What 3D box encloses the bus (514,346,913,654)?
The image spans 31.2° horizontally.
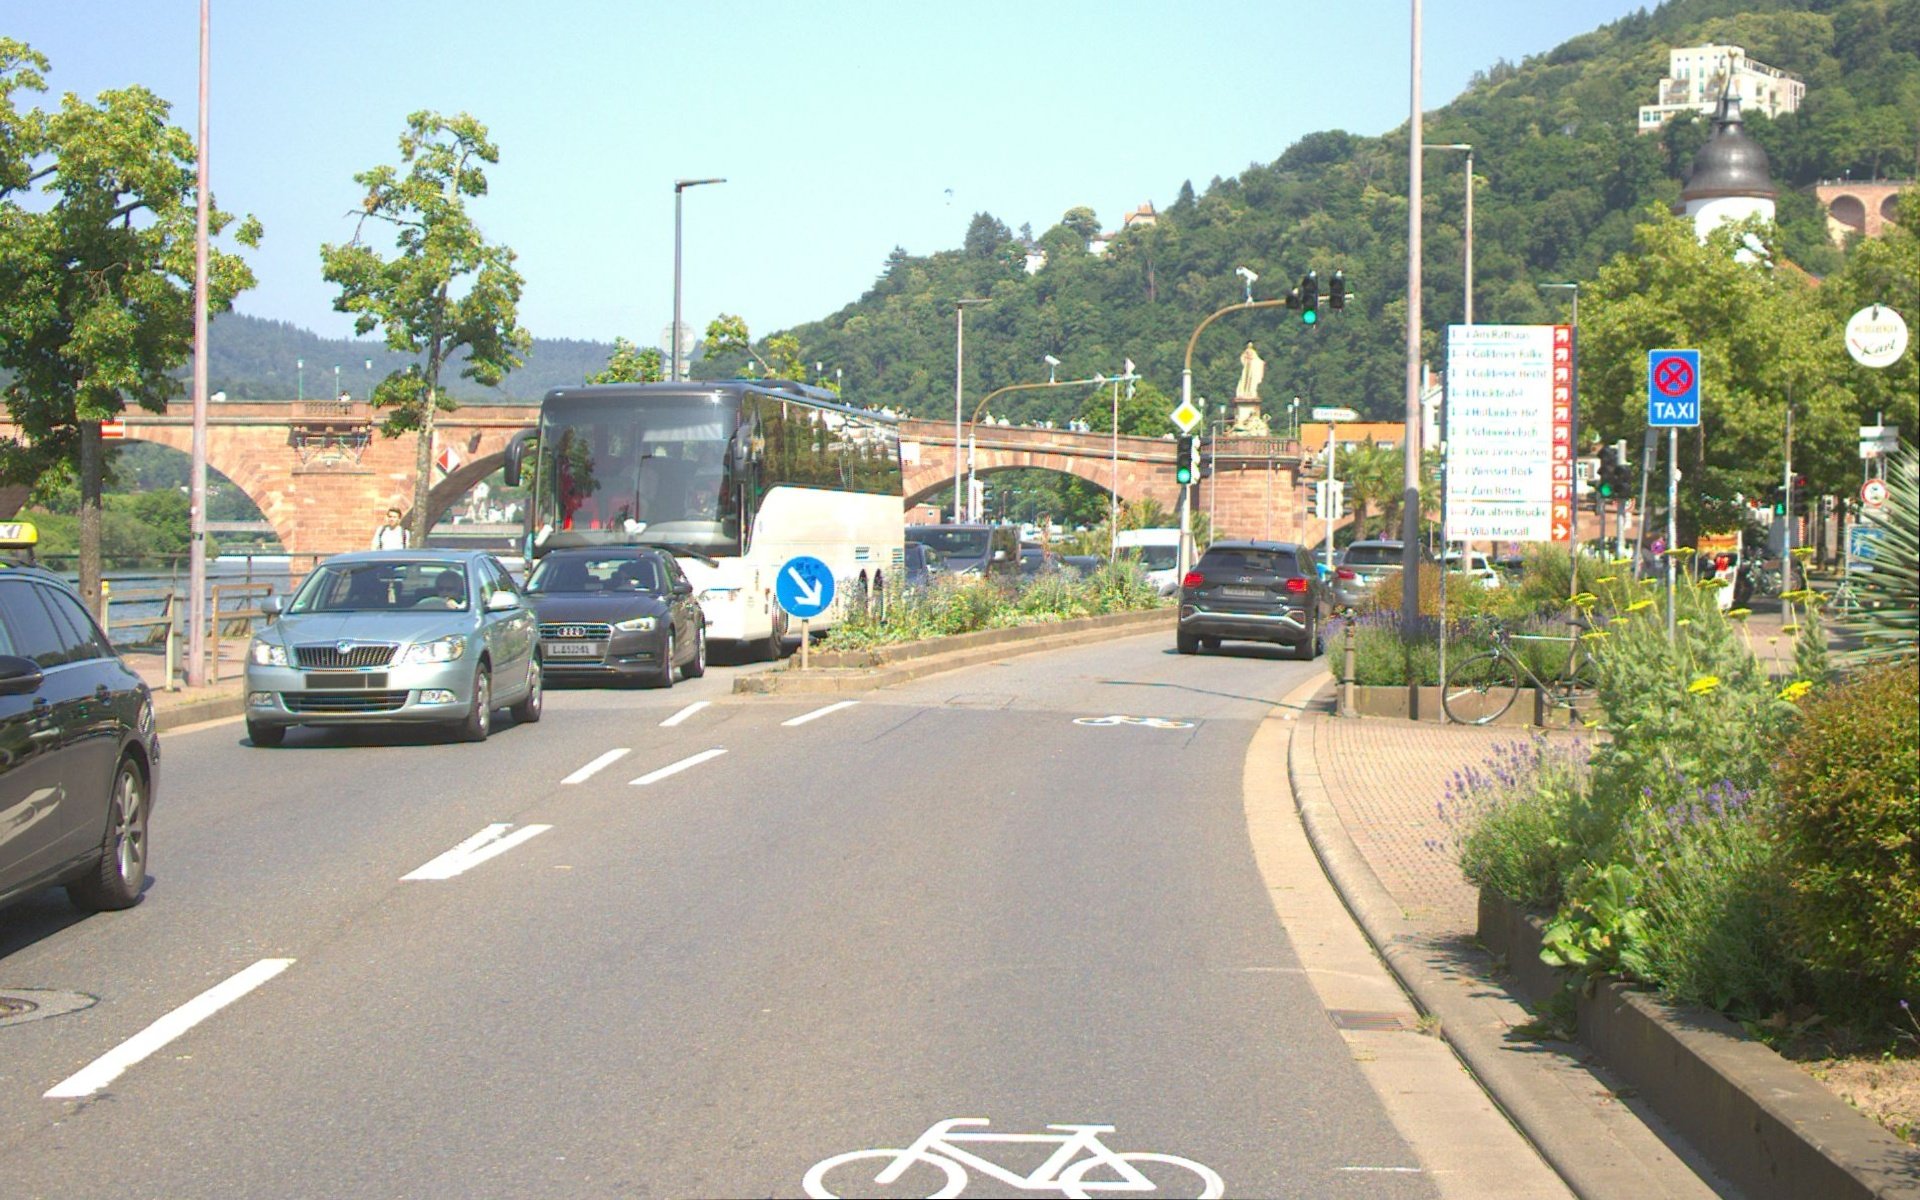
[{"bbox_3d":[-2.956,-1.182,46.226,2.632,3.552,12.978,1,0,8],"label":"bus"}]

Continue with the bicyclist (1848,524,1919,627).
[{"bbox_3d":[14.388,-0.386,53.561,0.766,1.578,1.089,1,1,-2],"label":"bicyclist"}]

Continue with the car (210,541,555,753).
[{"bbox_3d":[-4.351,0.299,26.544,1.813,1.423,4.311,-1,2,1],"label":"car"}]

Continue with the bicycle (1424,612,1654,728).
[{"bbox_3d":[4.844,0.582,28.808,1.810,0.875,0.502,2,1,0],"label":"bicycle"}]

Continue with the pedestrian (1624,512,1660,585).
[{"bbox_3d":[15.809,-1.202,79.710,0.693,1.671,0.764,-1,1,4],"label":"pedestrian"}]

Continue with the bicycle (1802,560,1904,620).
[{"bbox_3d":[19.164,-0.218,73.759,2.014,1.194,0.521,3,2,24],"label":"bicycle"}]

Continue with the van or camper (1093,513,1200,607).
[{"bbox_3d":[5.085,-1.050,92.962,1.994,2.441,5.491,-1,0,12],"label":"van or camper"}]

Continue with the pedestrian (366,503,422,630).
[{"bbox_3d":[-8.009,-0.476,48.636,0.620,1.774,0.662,1,1,4],"label":"pedestrian"}]

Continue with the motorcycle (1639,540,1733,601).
[{"bbox_3d":[17.655,-0.712,83.691,0.762,1.460,2.298,0,0,-37],"label":"motorcycle"}]

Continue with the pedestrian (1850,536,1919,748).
[{"bbox_3d":[7.229,0.313,26.134,0.762,1.589,0.696,1,1,4],"label":"pedestrian"}]

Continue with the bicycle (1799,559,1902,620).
[{"bbox_3d":[18.977,-0.232,73.286,2.001,1.194,0.521,3,2,24],"label":"bicycle"}]

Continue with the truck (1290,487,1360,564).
[{"bbox_3d":[16.350,-3.305,153.939,2.659,3.392,4.447,1,1,12],"label":"truck"}]

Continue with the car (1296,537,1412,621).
[{"bbox_3d":[7.242,-0.412,62.837,1.927,1.456,4.830,1,1,8],"label":"car"}]

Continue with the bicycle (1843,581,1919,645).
[{"bbox_3d":[14.366,0.195,53.406,0.749,0.960,1.782,1,1,-2],"label":"bicycle"}]

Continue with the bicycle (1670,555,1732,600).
[{"bbox_3d":[18.552,-0.569,86.079,1.484,1.116,0.294,-1,0,7],"label":"bicycle"}]

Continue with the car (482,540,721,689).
[{"bbox_3d":[-3.626,0.106,35.452,1.817,1.424,4.192,0,1,3],"label":"car"}]

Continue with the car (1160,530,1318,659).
[{"bbox_3d":[3.782,-0.112,46.019,1.927,1.548,4.831,3,1,6],"label":"car"}]

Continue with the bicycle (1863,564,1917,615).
[{"bbox_3d":[20.206,-0.226,74.710,0.595,1.064,2.062,0,-1,31],"label":"bicycle"}]

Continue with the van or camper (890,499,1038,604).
[{"bbox_3d":[0.135,-0.902,64.407,1.994,1.867,5.178,0,1,9],"label":"van or camper"}]

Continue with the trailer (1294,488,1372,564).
[{"bbox_3d":[17.146,-3.358,157.695,2.659,3.392,8.822,1,1,12],"label":"trailer"}]

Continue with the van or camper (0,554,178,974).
[{"bbox_3d":[-4.348,0.577,12.585,1.993,1.450,4.683,-1,1,-2],"label":"van or camper"}]

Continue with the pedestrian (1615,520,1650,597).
[{"bbox_3d":[15.652,-0.968,80.009,0.693,1.765,0.764,-1,1,4],"label":"pedestrian"}]
